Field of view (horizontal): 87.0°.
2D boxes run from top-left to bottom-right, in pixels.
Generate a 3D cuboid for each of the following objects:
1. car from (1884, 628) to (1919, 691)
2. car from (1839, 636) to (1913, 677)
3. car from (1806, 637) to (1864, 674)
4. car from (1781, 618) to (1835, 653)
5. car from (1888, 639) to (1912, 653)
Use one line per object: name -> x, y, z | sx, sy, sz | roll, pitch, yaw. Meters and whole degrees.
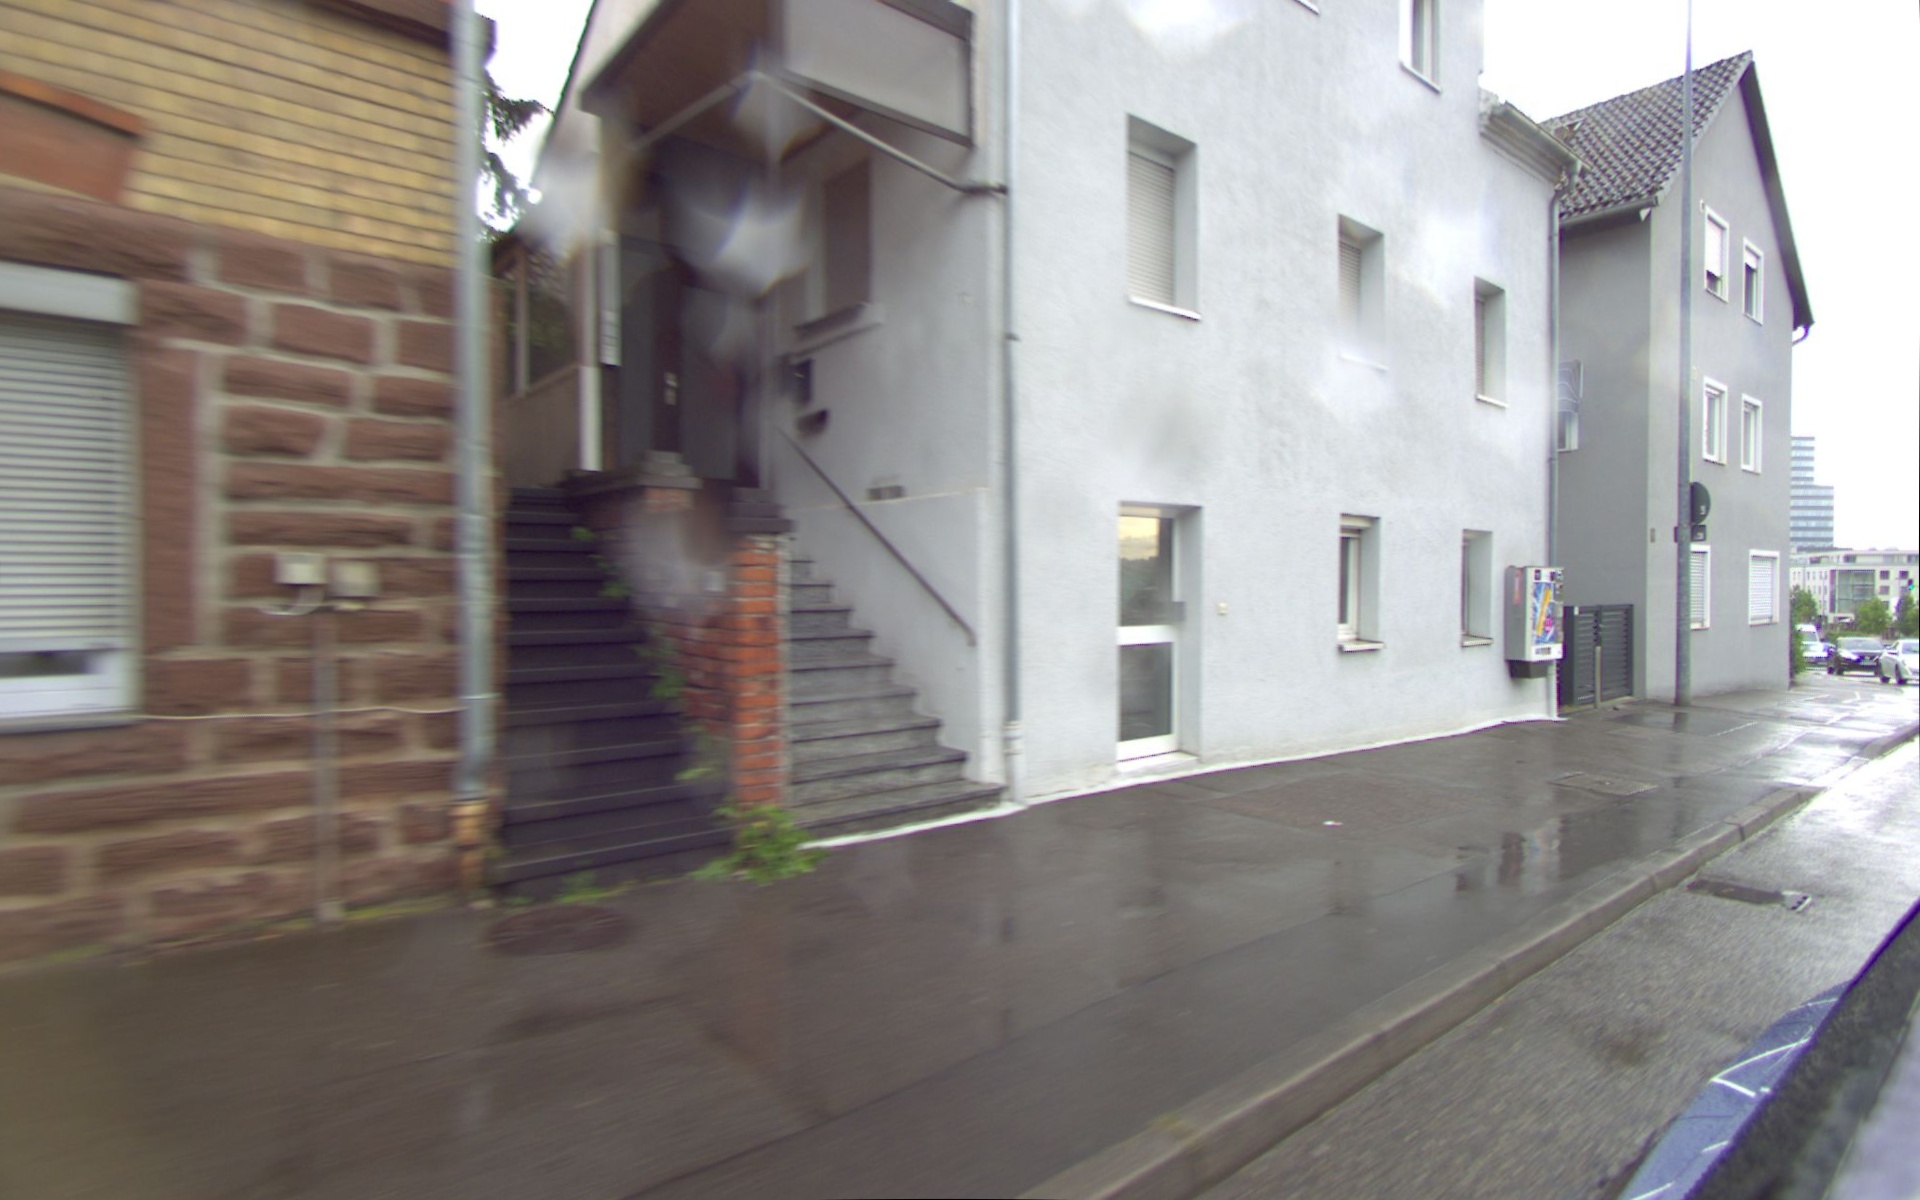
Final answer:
car -> 31.094, 1.817, 32.235 | 1.890, 1.680, 4.879 | -5, -2, 37
car -> 37.817, 2.324, 41.890 | 1.892, 1.516, 4.875 | 0, -2, 38
car -> 44.368, 2.825, 51.411 | 1.891, 1.746, 4.403 | 0, -3, 37
car -> 51.332, 2.157, 61.366 | 2.018, 1.961, 4.881 | 0, -3, 35
car -> 115.571, 5.642, 124.460 | 1.810, 1.534, 3.944 | 1, -1, 38
